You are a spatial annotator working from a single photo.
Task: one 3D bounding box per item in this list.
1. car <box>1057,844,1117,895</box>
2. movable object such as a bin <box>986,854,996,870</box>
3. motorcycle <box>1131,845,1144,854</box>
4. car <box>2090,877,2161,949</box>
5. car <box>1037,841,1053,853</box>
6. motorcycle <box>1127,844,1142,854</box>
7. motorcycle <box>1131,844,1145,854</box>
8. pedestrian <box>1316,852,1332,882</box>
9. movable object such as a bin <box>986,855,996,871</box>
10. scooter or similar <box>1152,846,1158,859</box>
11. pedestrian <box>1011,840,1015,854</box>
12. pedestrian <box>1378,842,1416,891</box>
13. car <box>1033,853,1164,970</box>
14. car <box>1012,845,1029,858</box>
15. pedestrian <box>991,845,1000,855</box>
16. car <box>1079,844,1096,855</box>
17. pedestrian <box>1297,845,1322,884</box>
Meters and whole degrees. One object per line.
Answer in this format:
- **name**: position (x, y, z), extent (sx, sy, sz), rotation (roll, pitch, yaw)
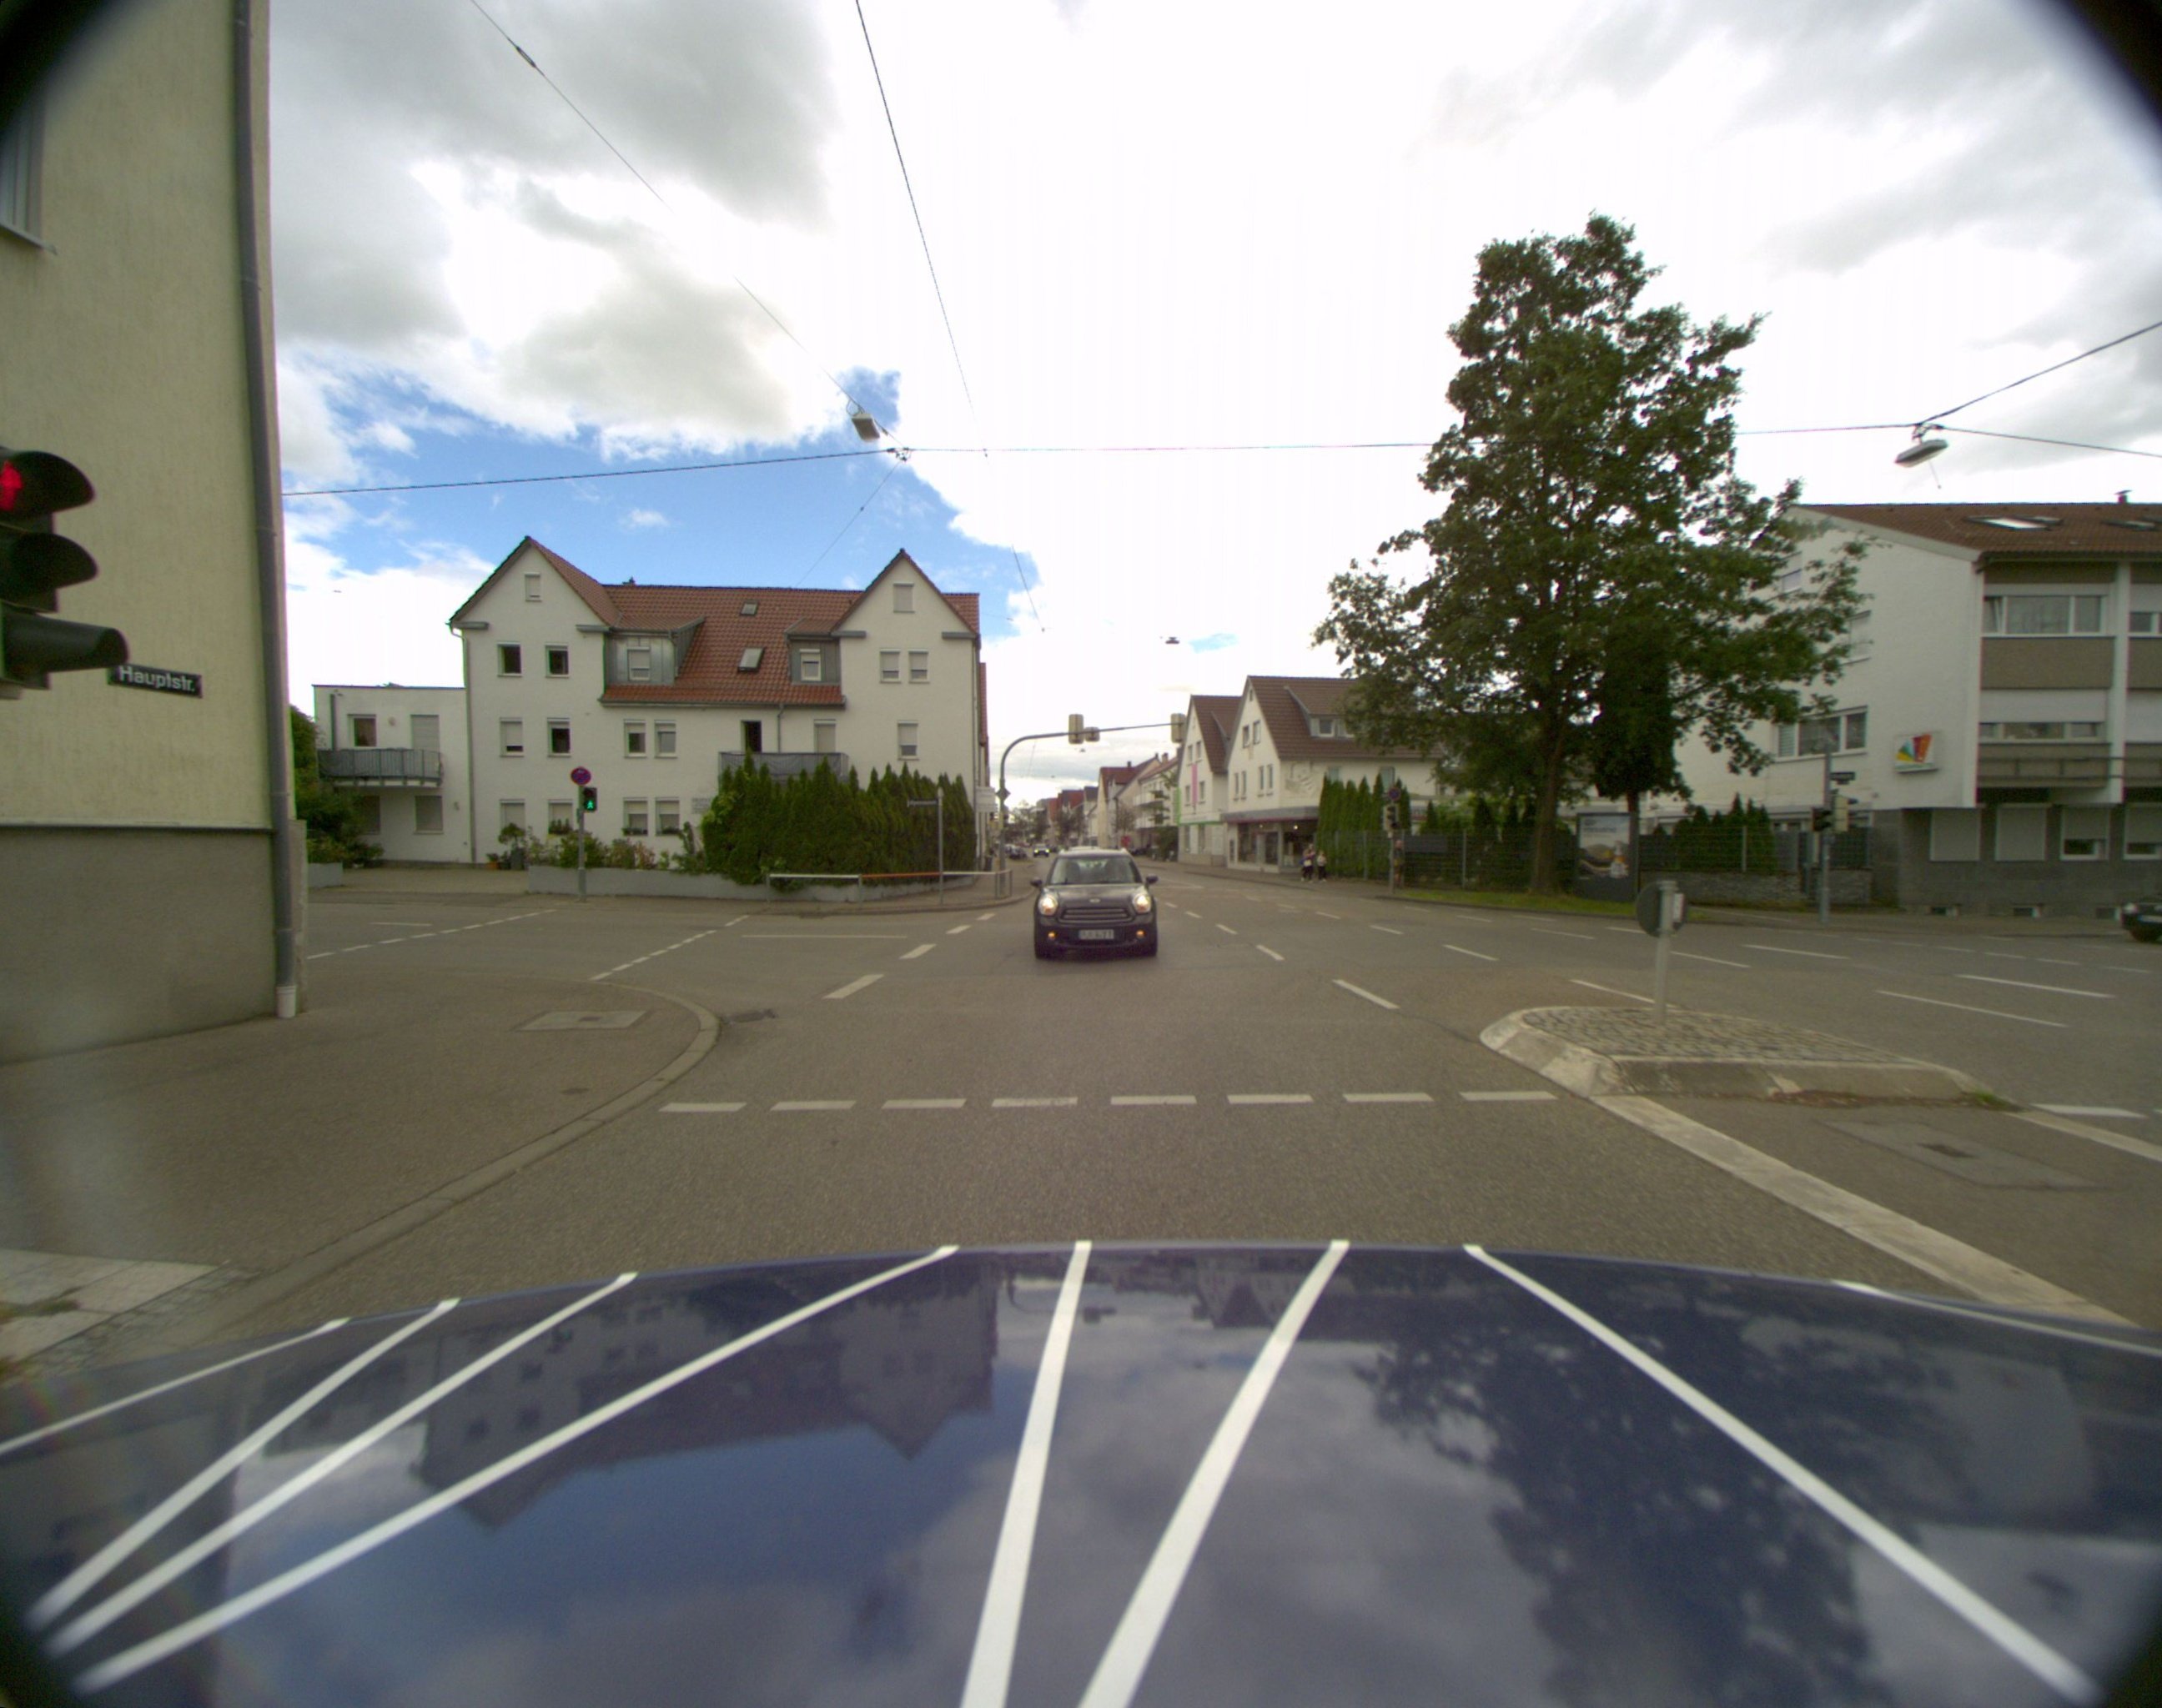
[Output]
- **car**: position (0.134, 0.502, 28.499), extent (1.811, 1.556, 4.613), rotation (-2, 3, -5)
- **movable object such as a bin**: position (-5.224, 0.478, 44.141), extent (0.566, 0.898, 0.519), rotation (1, 2, -4)
- **motorcycle**: position (6.613, -0.536, 89.481), extent (1.430, 1.017, 0.525), rotation (-2, 2, -5)
- **car**: position (23.200, 1.227, 15.149), extent (3.642, 1.390, 1.772), rotation (1, 1, 2)
- **car**: position (-4.708, -0.938, 98.953), extent (1.846, 1.510, 3.997), rotation (-2, 2, -5)
- **motorcycle**: position (6.480, -0.631, 91.995), extent (1.679, 1.099, 0.558), rotation (-2, 2, -5)
- **motorcycle**: position (6.756, -0.596, 90.232), extent (1.515, 1.099, 0.589), rotation (-2, 2, 1)
- **pedestrian**: position (10.369, 0.562, 32.428), extent (0.383, 1.255, 0.549), rotation (-2, 2, -15)
- **movable object such as a bin**: position (-5.159, 0.506, 43.546), extent (0.566, 0.898, 0.519), rotation (1, 2, -4)
- **scooter or similar**: position (7.012, -0.145, 71.792), extent (0.465, 1.117, 1.829), rotation (-1, 1, 9)
- **pedestrian**: position (-8.531, -0.848, 95.673), extent (0.497, 1.744, 0.451), rotation (0, 2, -4)
- **pedestrian**: position (11.688, 0.442, 28.143), extent (0.823, 1.744, 1.228), rotation (-2, 2, -4)
- **car**: position (0.112, 0.758, 12.061), extent (1.694, 1.507, 3.998), rotation (-1, 0, -4)
- **car**: position (-7.345, -0.341, 91.618), extent (1.847, 1.510, 3.996), rotation (-2, 2, -7)
- **pedestrian**: position (-10.602, -0.533, 94.651), extent (0.982, 1.272, 0.666), rotation (1, 1, 7)
- **car**: position (0.829, -0.598, 98.665), extent (1.635, 1.404, 3.996), rotation (1, 1, -8)
- **pedestrian**: position (9.775, 0.440, 32.530), extent (0.642, 1.596, 0.865), rotation (-2, 2, -15)
